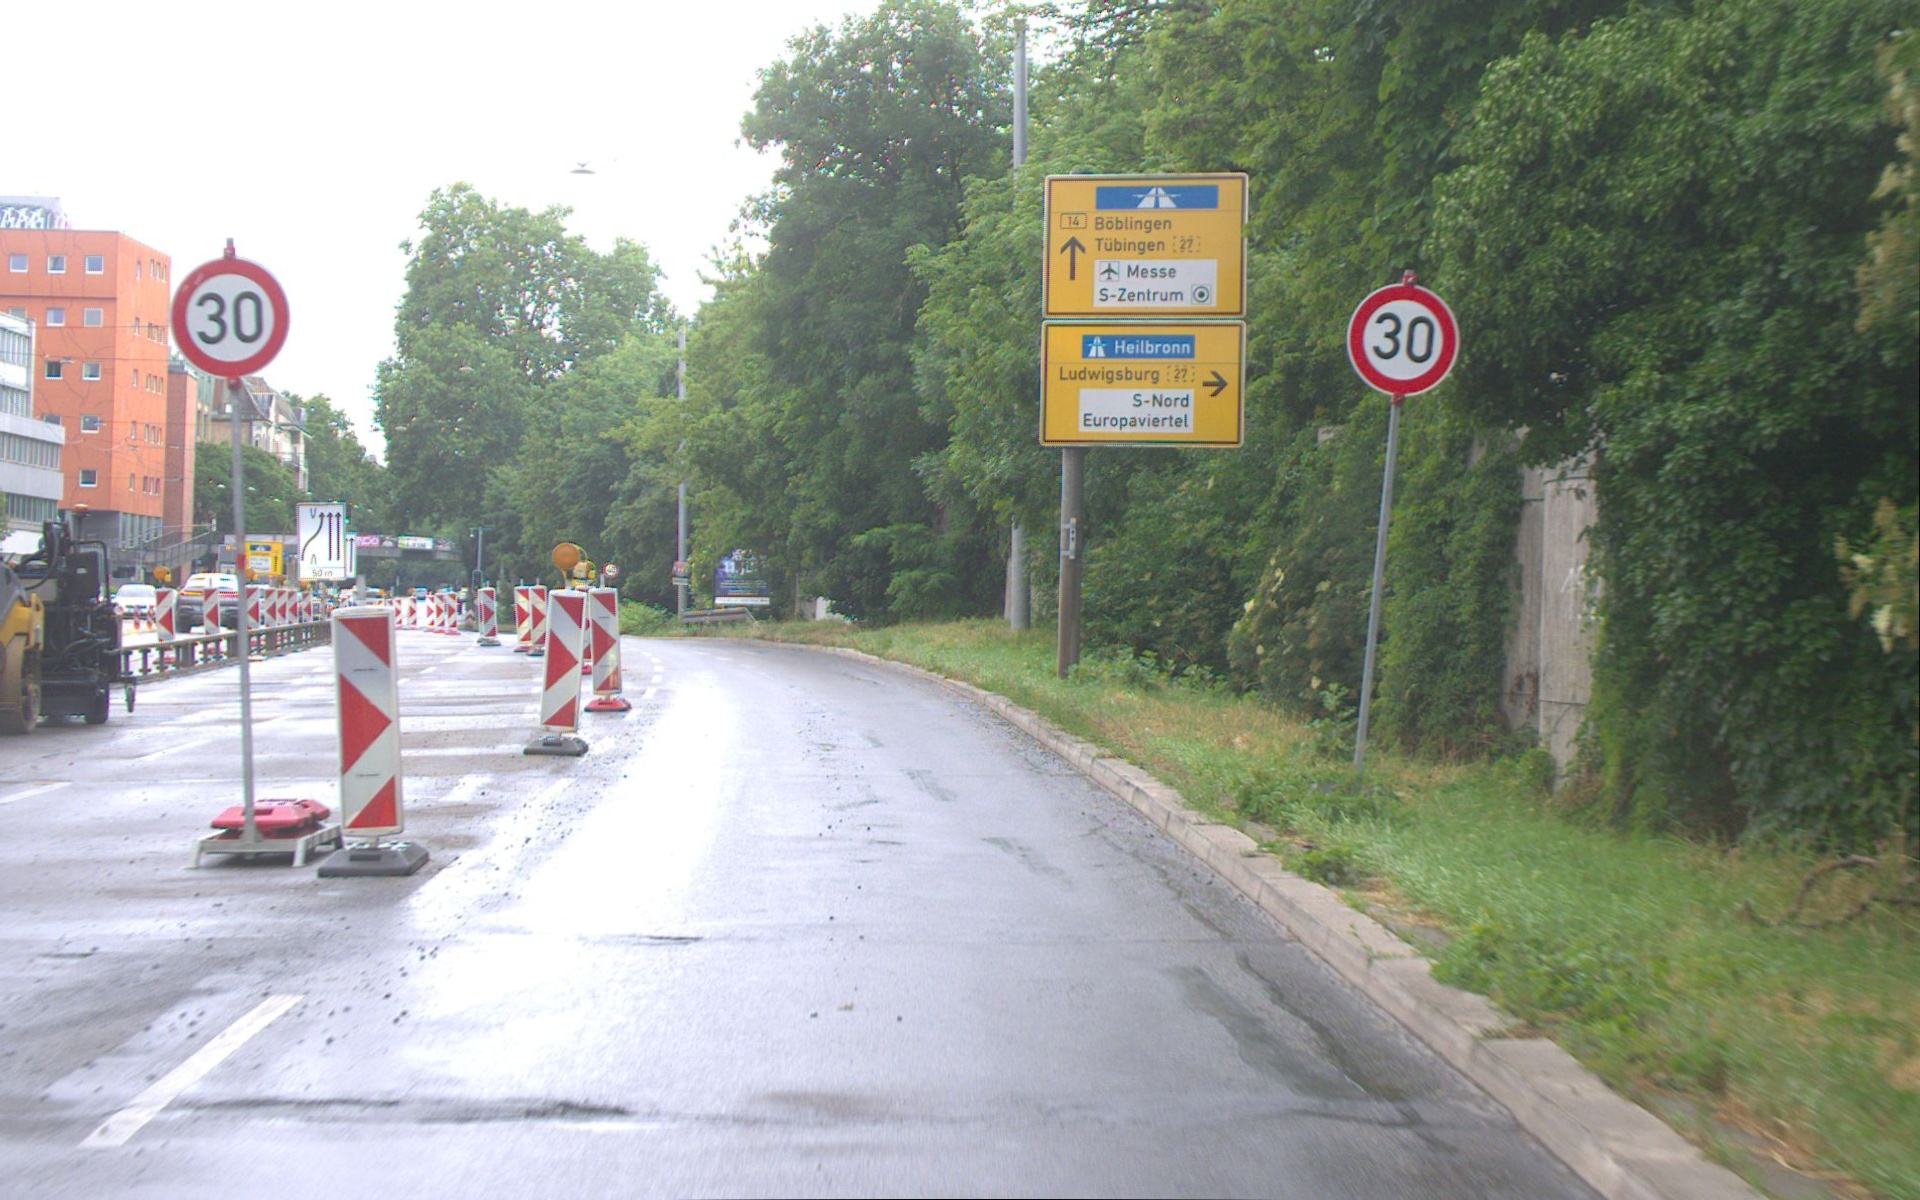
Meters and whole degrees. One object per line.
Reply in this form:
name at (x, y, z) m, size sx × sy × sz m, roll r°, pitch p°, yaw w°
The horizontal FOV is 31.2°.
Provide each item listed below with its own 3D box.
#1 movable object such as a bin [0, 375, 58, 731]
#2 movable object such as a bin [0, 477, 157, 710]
movable object such as a bin at (-8.839, -0.396, 29.228) m, size 1.465 × 2.998 × 3.724 m, roll 0°, pitch 1°, yaw -2°
movable object such as a bin at (-8.945, -0.078, 33.348) m, size 1.715 × 2.142 × 3.350 m, roll 0°, pitch 1°, yaw -4°
